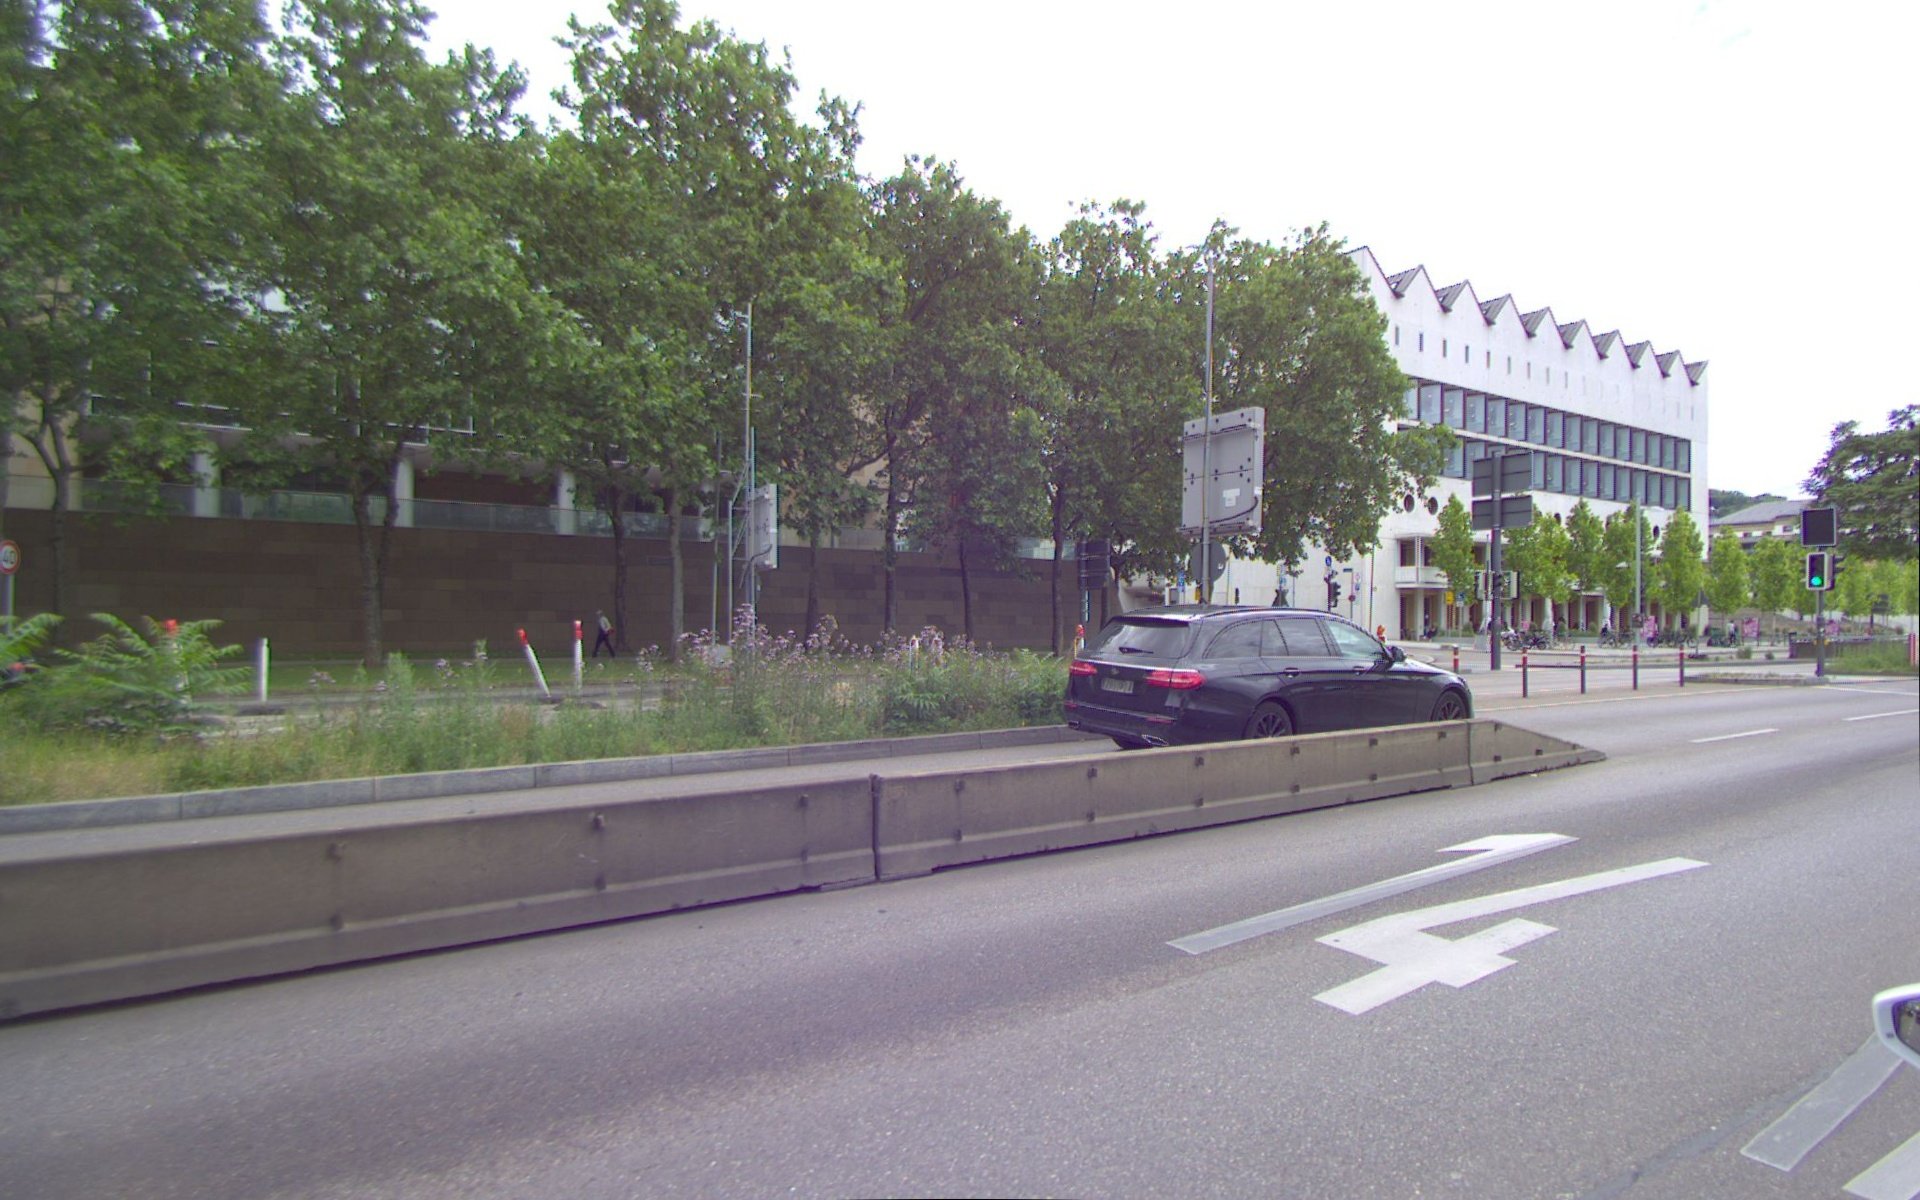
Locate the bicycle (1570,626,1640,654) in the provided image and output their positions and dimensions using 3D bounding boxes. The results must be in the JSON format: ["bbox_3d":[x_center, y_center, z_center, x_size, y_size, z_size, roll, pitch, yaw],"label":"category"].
[{"bbox_3d":[40.817,2.529,63.599,1.170,1.706,3.593,1,-1,-32],"label":"bicycle"}]

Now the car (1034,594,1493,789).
[{"bbox_3d":[3.210,0.800,10.168,4.814,1.480,1.800,2,2,-35],"label":"car"}]

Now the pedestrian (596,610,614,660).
[{"bbox_3d":[-11.678,1.145,33.036,0.440,1.629,0.351,2,1,-38],"label":"pedestrian"}]

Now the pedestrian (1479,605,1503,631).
[{"bbox_3d":[34.353,1.163,65.017,0.751,1.589,1.094,2,1,-28],"label":"pedestrian"}]

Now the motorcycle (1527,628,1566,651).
[{"bbox_3d":[33.273,2.239,57.013,1.858,1.249,0.657,0,-3,34],"label":"motorcycle"}]

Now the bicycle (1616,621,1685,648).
[{"bbox_3d":[45.549,2.247,66.275,1.174,1.706,3.581,1,-2,-41],"label":"bicycle"}]

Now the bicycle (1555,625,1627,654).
[{"bbox_3d":[38.943,2.398,62.053,1.170,1.706,3.593,1,-1,-32],"label":"bicycle"}]

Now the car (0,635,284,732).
[{"bbox_3d":[-13.464,1.287,16.339,3.954,1.390,1.717,1,-1,-31],"label":"car"}]

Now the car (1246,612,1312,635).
[{"bbox_3d":[20.831,1.526,65.740,1.732,1.293,3.966,2,1,-31],"label":"car"}]

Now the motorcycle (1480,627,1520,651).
[{"bbox_3d":[29.255,2.100,54.415,1.858,1.249,0.657,0,-3,34],"label":"motorcycle"}]

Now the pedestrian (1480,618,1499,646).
[{"bbox_3d":[30.123,1.796,57.166,0.865,1.577,0.598,0,-1,17],"label":"pedestrian"}]

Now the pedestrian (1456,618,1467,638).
[{"bbox_3d":[34.810,1.938,69.723,0.559,1.344,0.516,3,-3,-31],"label":"pedestrian"}]

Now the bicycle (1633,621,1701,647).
[{"bbox_3d":[47.538,2.293,67.571,1.174,1.706,3.581,1,-2,-41],"label":"bicycle"}]
